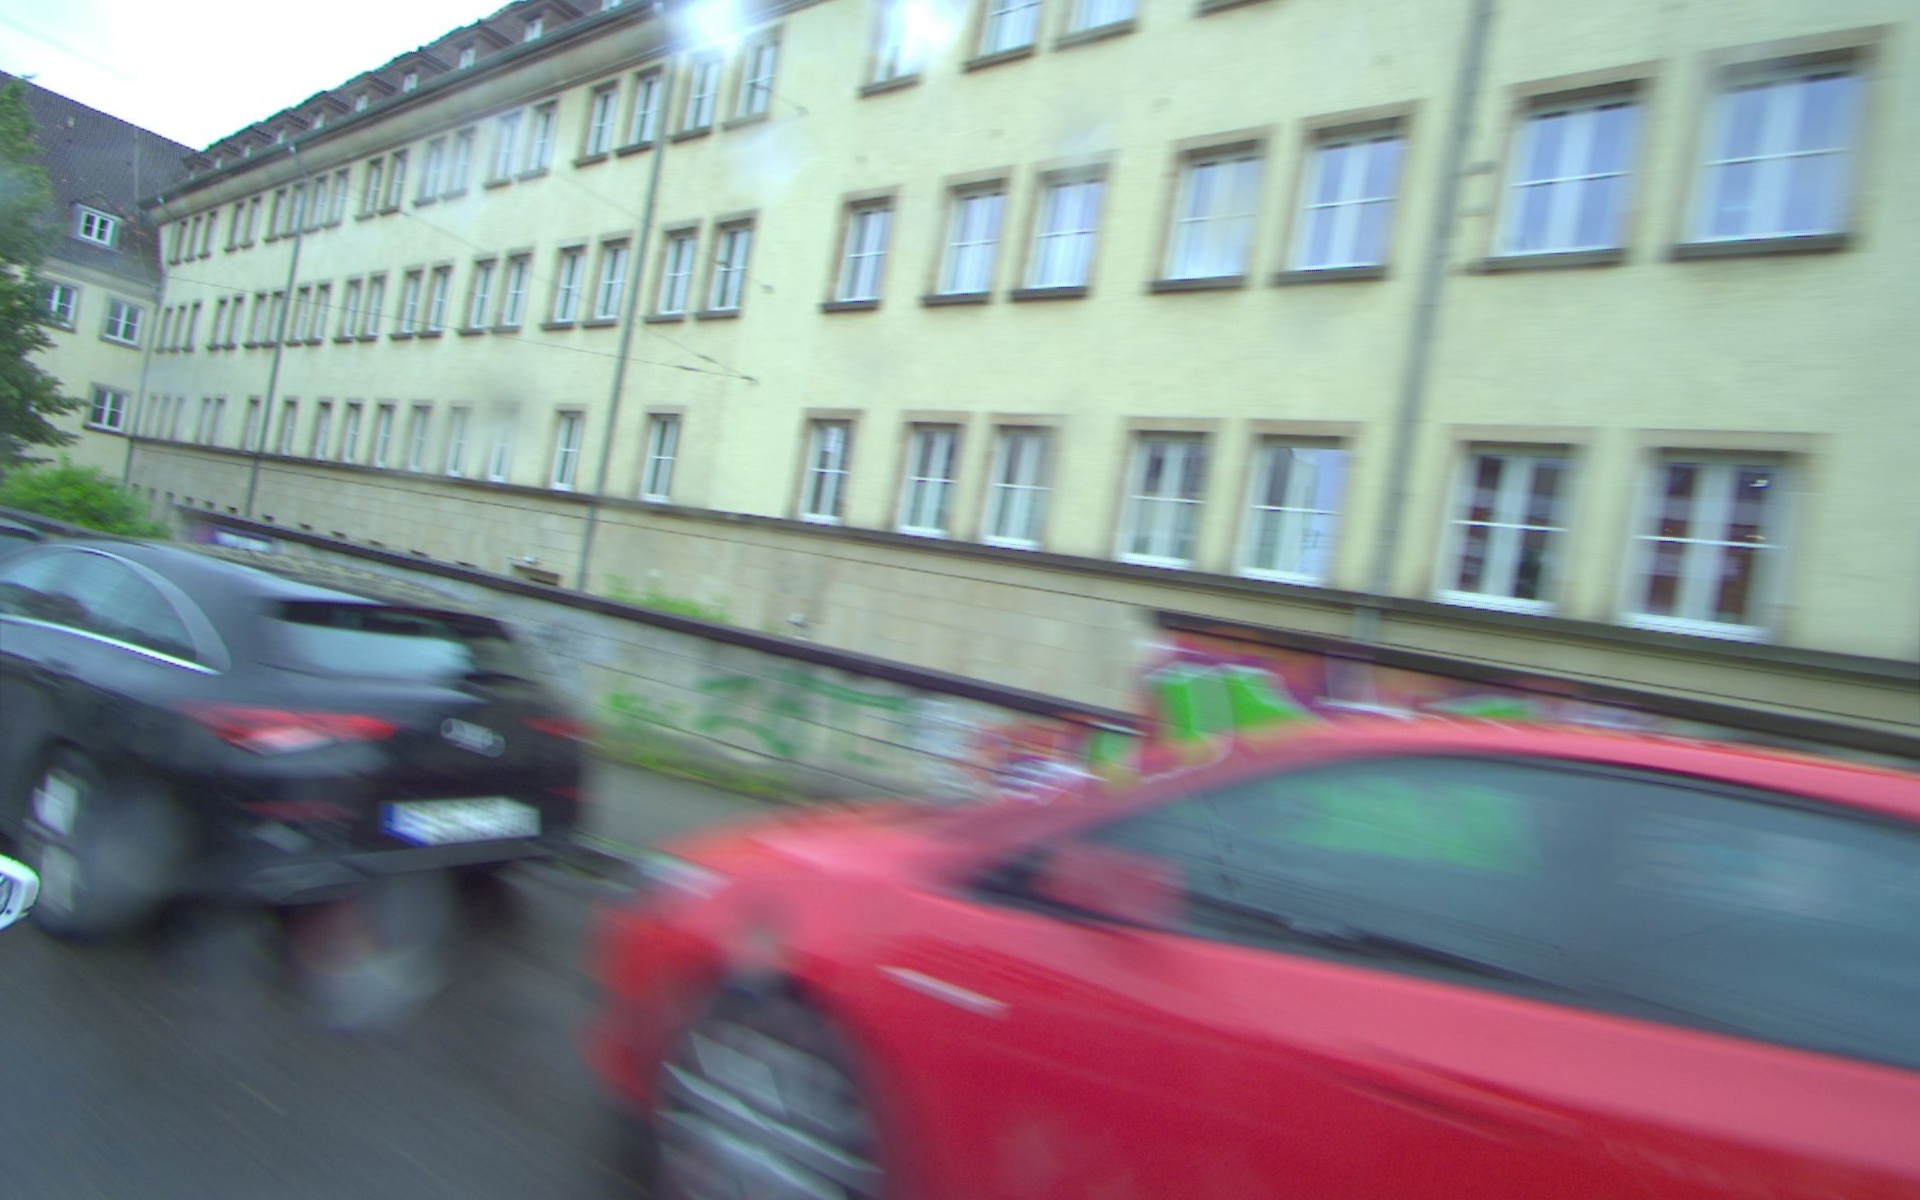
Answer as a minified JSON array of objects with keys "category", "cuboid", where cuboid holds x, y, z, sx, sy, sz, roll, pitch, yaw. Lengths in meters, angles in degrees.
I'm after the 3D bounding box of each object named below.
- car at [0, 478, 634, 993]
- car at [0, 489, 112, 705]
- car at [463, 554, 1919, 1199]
[{"category":"car","cuboid":[-3.818,0.285,4.886,4.382,1.494,1.668,7,0,31]},{"category":"car","cuboid":[-8.513,-0.256,7.670,4.037,1.494,1.669,7,0,28]},{"category":"car","cuboid":[0.952,0.933,2.454,3.994,1.493,1.671,7,-2,27]}]
